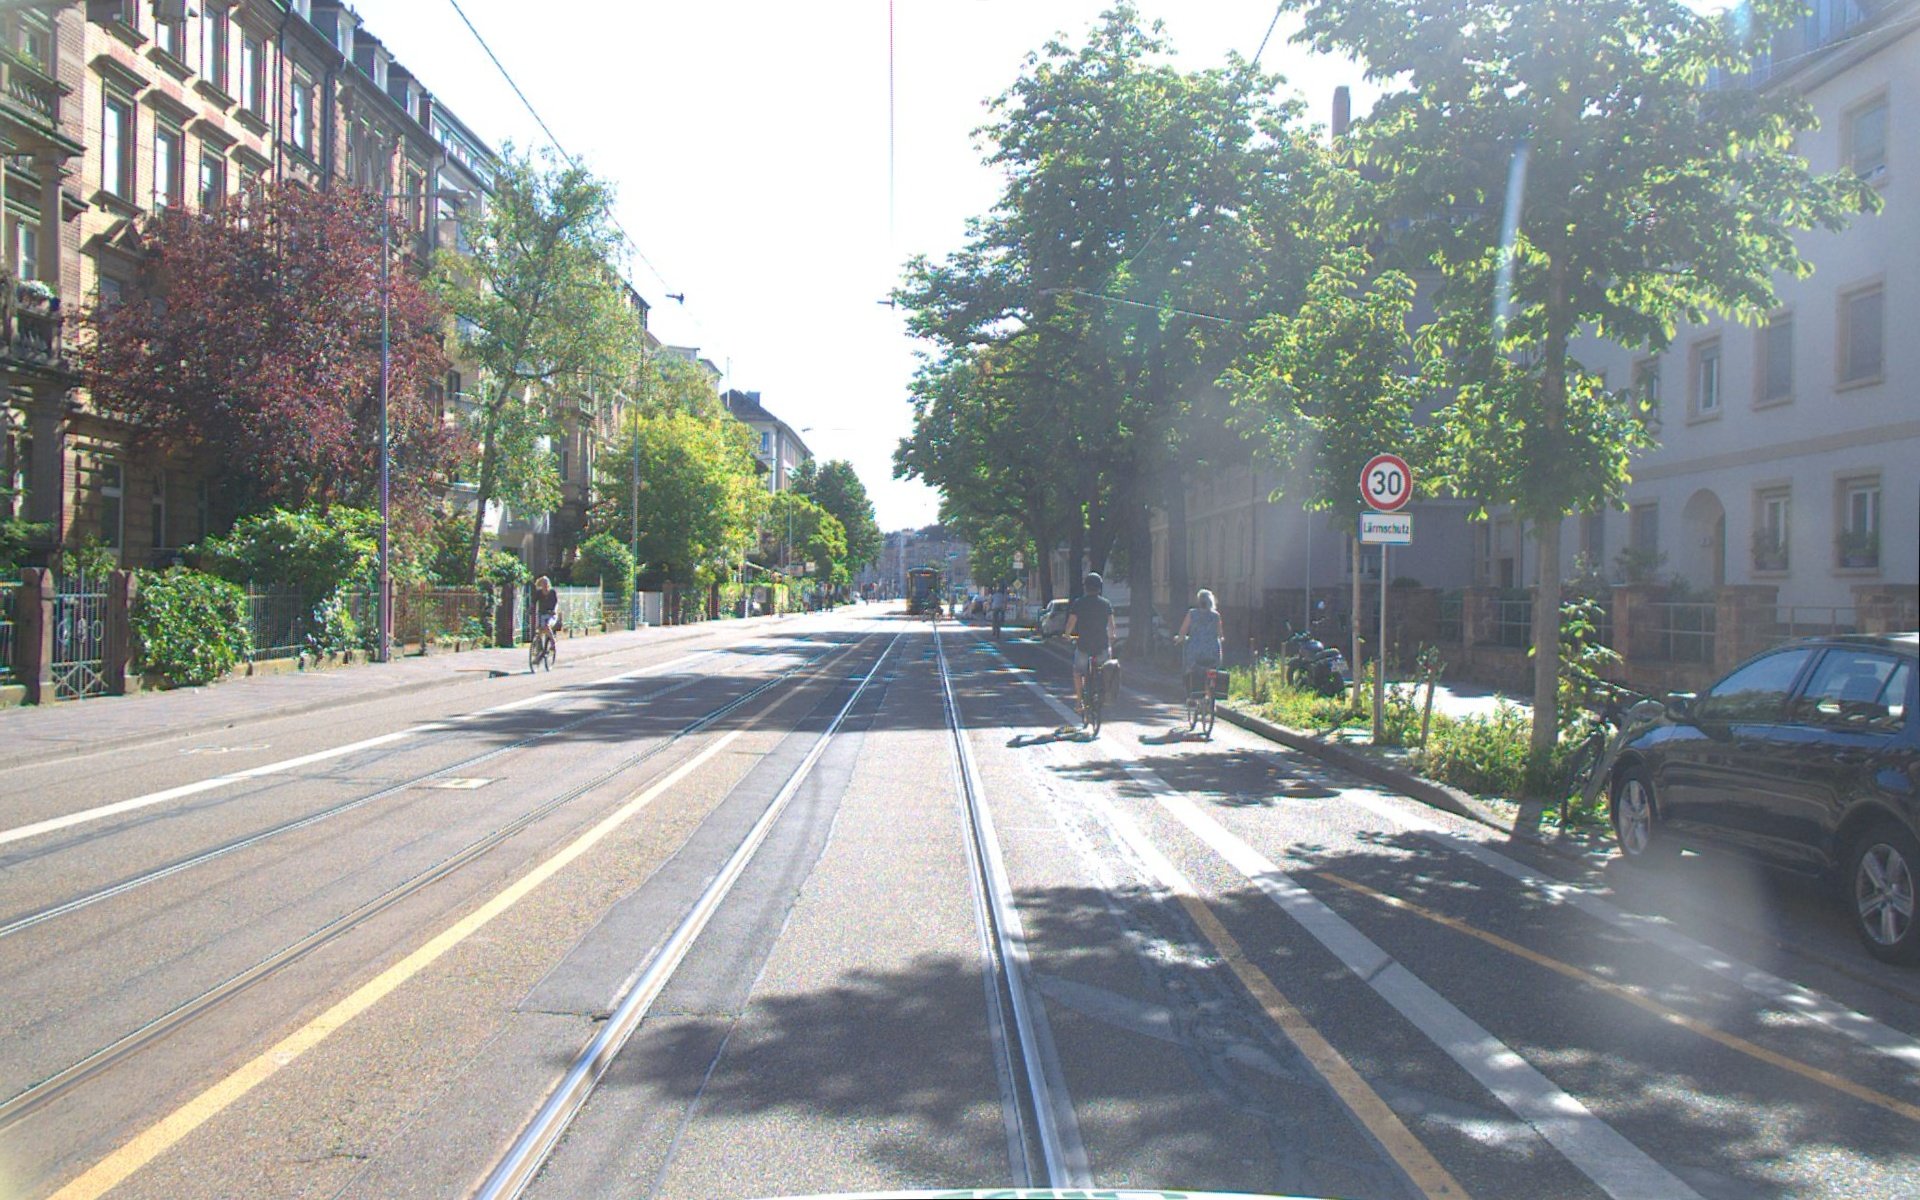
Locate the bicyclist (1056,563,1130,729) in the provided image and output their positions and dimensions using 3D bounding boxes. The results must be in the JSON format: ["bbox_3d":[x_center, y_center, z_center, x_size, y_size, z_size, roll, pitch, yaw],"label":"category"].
[{"bbox_3d":[1.554,0.527,19.437,0.713,1.880,0.836,2,0,-2],"label":"bicyclist"}]

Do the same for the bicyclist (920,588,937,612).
[{"bbox_3d":[-1.776,0.007,93.137,0.756,1.314,0.734,2,0,15],"label":"bicyclist"}]

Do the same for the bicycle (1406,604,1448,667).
[{"bbox_3d":[9.561,0.718,33.896,0.426,1.244,1.373,2,0,-1],"label":"bicycle"}]

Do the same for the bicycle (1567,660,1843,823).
[{"bbox_3d":[5.411,1.008,12.048,1.758,1.086,0.620,-1,0,-6],"label":"bicycle"}]

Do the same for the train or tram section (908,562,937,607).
[{"bbox_3d":[-3.039,-1.227,133.176,2.110,3.491,6.609,2,0,-1],"label":"train or tram section"}]

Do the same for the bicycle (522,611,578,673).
[{"bbox_3d":[-7.956,0.801,32.138,0.677,1.132,1.718,0,0,-1],"label":"bicycle"}]

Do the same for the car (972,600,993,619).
[{"bbox_3d":[1.979,0.841,145.520,1.719,1.579,3.676,2,0,-1],"label":"car"}]

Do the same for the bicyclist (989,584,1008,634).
[{"bbox_3d":[1.443,0.321,62.011,0.632,1.827,0.955,2,0,-2],"label":"bicyclist"}]

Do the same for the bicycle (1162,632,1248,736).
[{"bbox_3d":[2.940,0.985,20.010,0.678,1.132,1.917,2,0,-1],"label":"bicycle"}]

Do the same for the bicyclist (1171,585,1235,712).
[{"bbox_3d":[2.955,0.581,20.127,0.622,1.493,0.616,2,0,-1],"label":"bicyclist"}]

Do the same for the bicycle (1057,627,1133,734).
[{"bbox_3d":[1.560,0.918,19.367,0.678,1.132,1.718,2,0,-1],"label":"bicycle"}]

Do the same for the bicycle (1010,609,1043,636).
[{"bbox_3d":[2.720,0.912,67.618,1.243,1.042,0.704,2,-1,6],"label":"bicycle"}]

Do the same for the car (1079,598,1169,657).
[{"bbox_3d":[4.309,0.698,44.077,1.596,1.461,4.661,0,0,-4],"label":"car"}]

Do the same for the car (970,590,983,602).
[{"bbox_3d":[2.426,-0.590,243.343,1.834,1.691,3.514,2,0,-2],"label":"car"}]

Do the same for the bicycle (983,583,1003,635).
[{"bbox_3d":[1.261,0.323,62.646,0.649,1.891,2.260,2,0,0],"label":"bicycle"}]

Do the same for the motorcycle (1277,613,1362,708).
[{"bbox_3d":[5.000,0.814,23.129,0.486,1.211,1.858,-3,1,-9],"label":"motorcycle"}]

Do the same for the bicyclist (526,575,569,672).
[{"bbox_3d":[-7.946,0.454,31.887,0.647,1.833,0.615,-1,-1,-1],"label":"bicyclist"}]

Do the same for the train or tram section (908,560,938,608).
[{"bbox_3d":[-2.871,-1.209,126.523,2.110,3.491,6.609,2,0,-1],"label":"train or tram section"}]

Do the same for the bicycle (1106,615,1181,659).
[{"bbox_3d":[4.554,0.905,41.021,1.756,1.037,0.620,-1,0,-2],"label":"bicycle"}]

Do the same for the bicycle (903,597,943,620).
[{"bbox_3d":[-2.110,0.490,93.442,2.094,1.191,0.803,2,0,14],"label":"bicycle"}]

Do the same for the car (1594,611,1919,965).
[{"bbox_3d":[5.004,0.832,8.661,1.751,1.489,4.043,0,0,-1],"label":"car"}]

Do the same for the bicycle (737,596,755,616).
[{"bbox_3d":[-12.039,0.316,93.093,0.623,1.088,1.822,2,0,-18],"label":"bicycle"}]

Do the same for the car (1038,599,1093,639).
[{"bbox_3d":[3.974,0.705,62.666,1.713,1.445,3.999,0,0,-2],"label":"car"}]

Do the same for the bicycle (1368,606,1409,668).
[{"bbox_3d":[8.849,0.754,34.197,0.426,1.244,1.373,2,0,-1],"label":"bicycle"}]
